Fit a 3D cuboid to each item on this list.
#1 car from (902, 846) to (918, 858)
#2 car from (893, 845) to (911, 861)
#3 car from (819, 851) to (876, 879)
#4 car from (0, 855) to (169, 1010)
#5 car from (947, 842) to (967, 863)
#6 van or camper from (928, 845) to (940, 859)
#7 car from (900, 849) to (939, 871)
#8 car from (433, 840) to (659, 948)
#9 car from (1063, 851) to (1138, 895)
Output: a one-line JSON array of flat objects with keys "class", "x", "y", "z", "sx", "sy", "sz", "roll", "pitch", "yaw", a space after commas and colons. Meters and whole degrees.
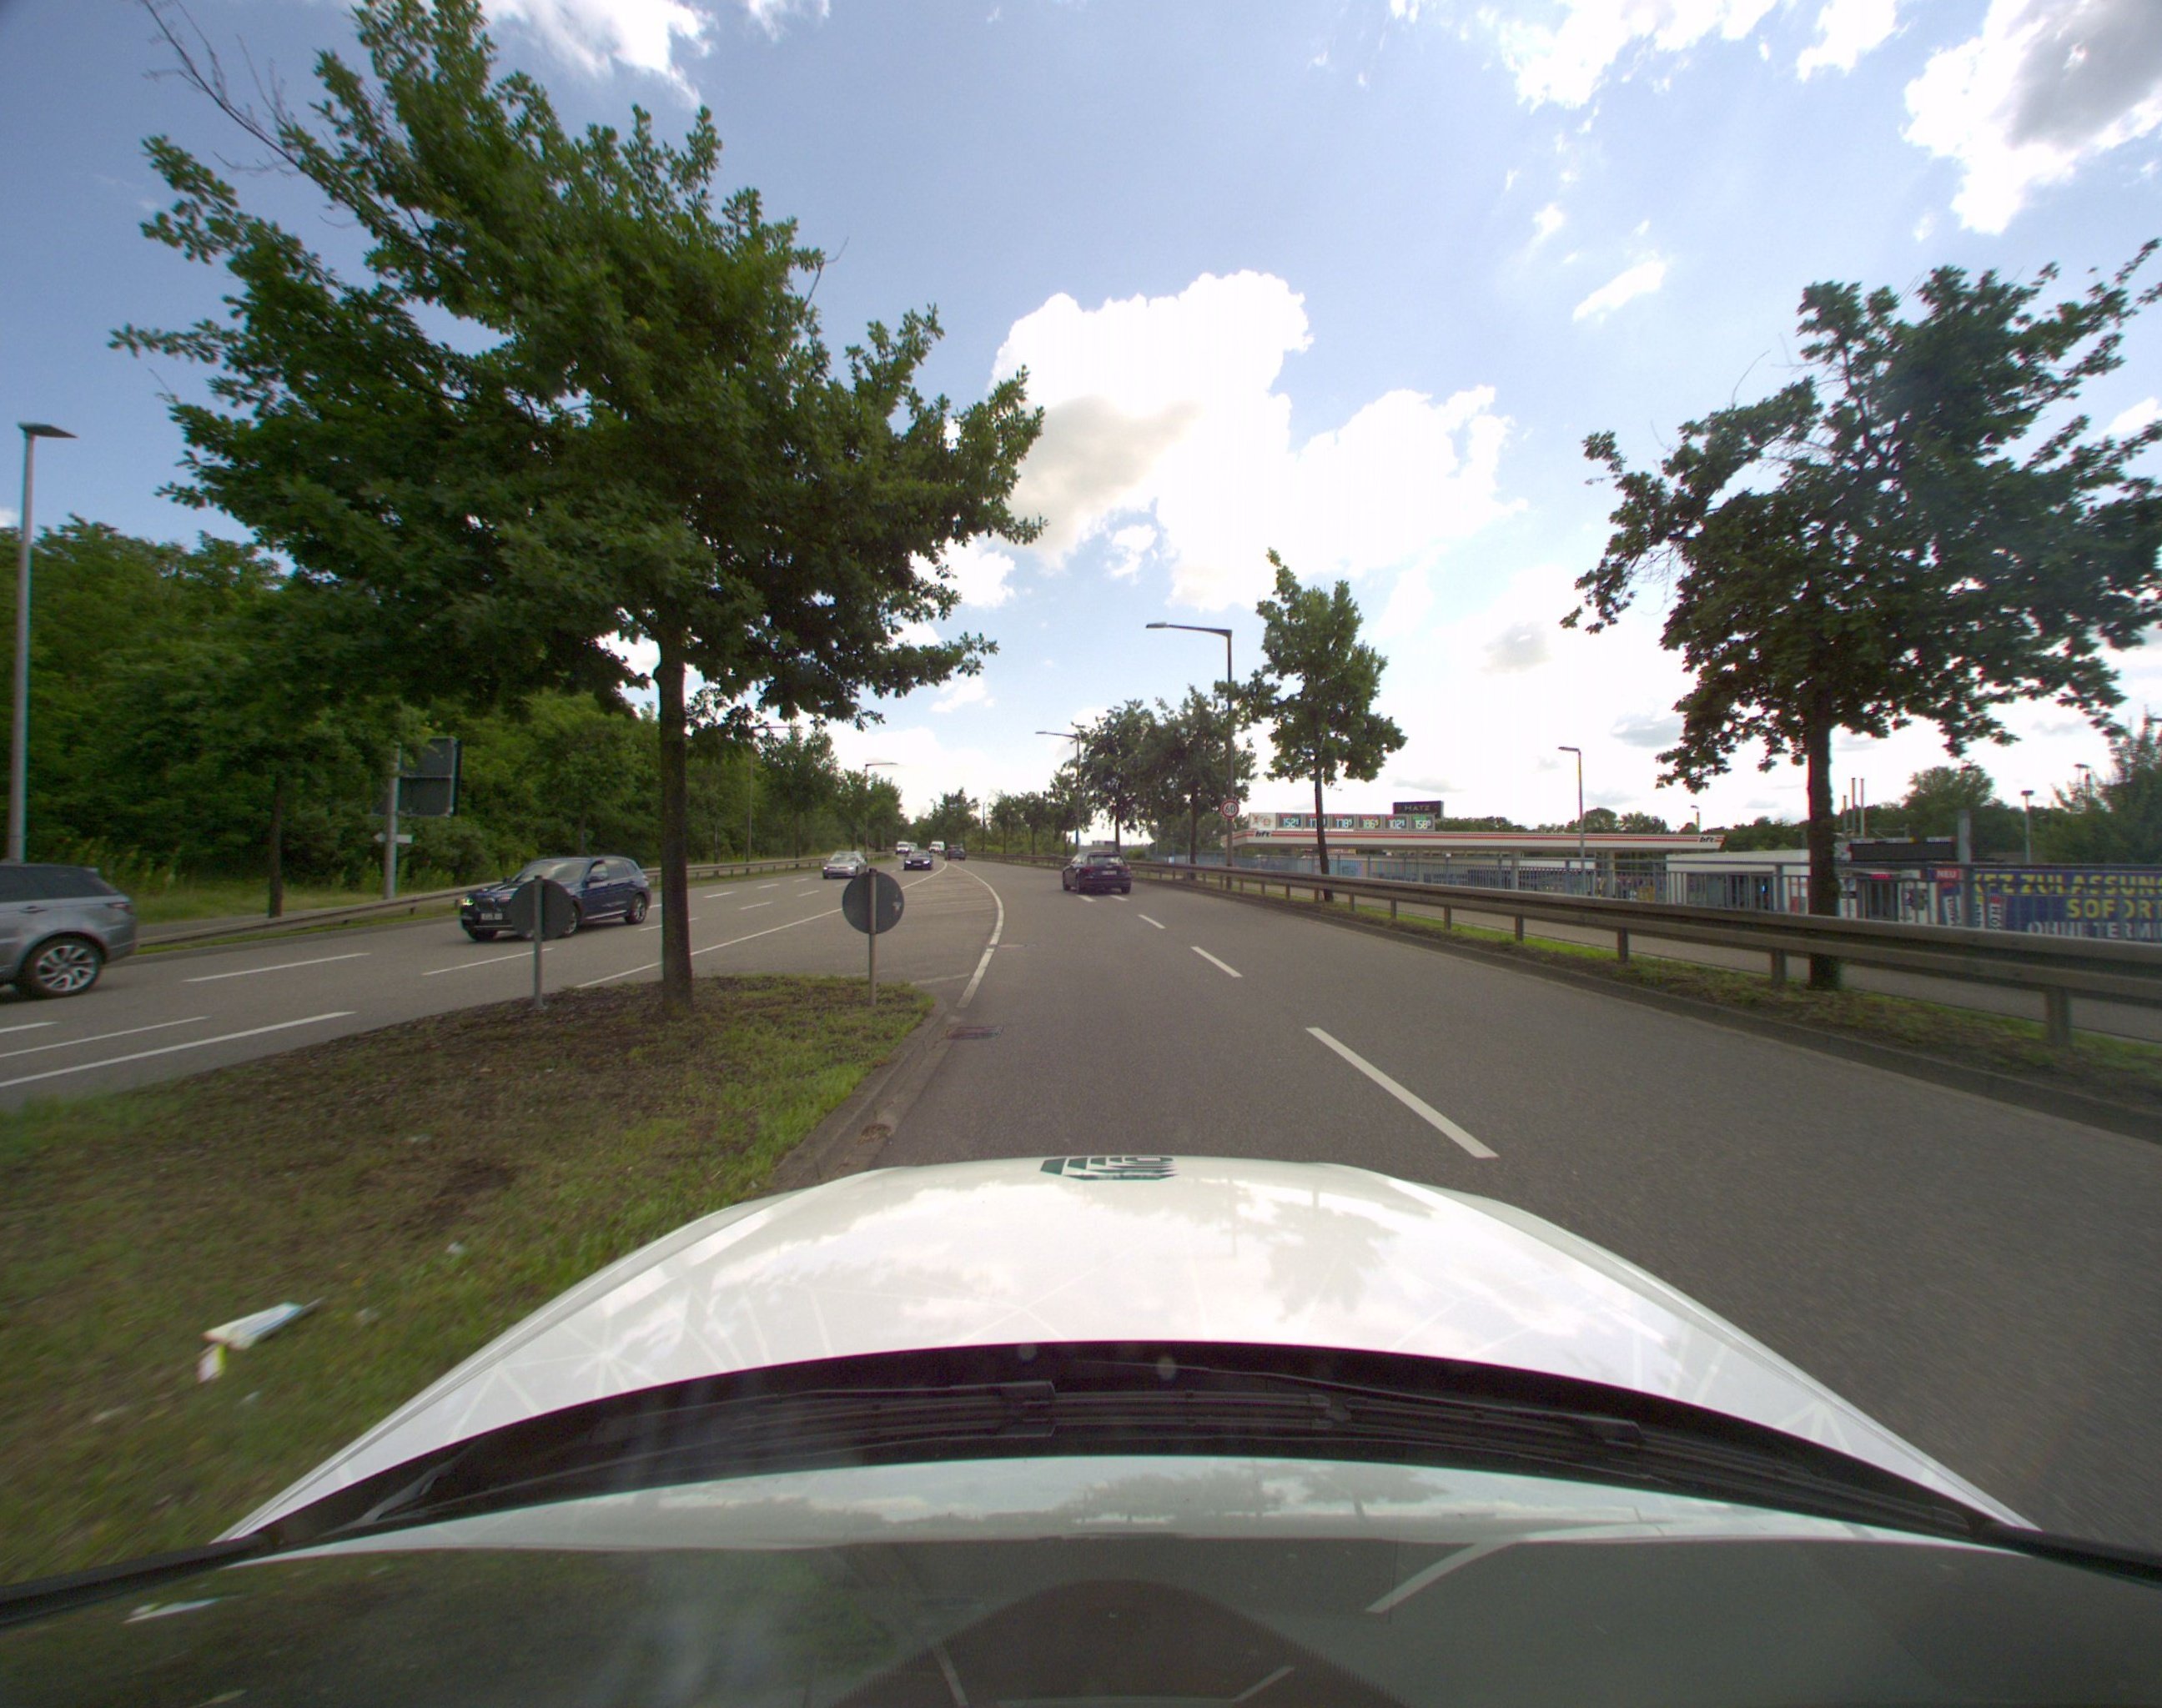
[{"class": "car", "x": -31.939, "y": -0.432, "z": 151.966, "sx": 2.001, "sy": 2.037, "sz": 4.678, "roll": 1, "pitch": -2, "yaw": -22}, {"class": "car", "x": -24.503, "y": -0.162, "z": 111.469, "sx": 1.992, "sy": 2.013, "sz": 4.547, "roll": 1, "pitch": 1, "yaw": -7}, {"class": "car", "x": -12.830, "y": 0.583, "z": 45.122, "sx": 1.989, "sy": 1.396, "sz": 4.695, "roll": -1, "pitch": 1, "yaw": -3}, {"class": "car", "x": -13.950, "y": 0.938, "z": 9.156, "sx": 1.986, "sy": 1.861, "sz": 4.716, "roll": 0, "pitch": -1, "yaw": 1}, {"class": "car", "x": -13.394, "y": -0.142, "z": 88.031, "sx": 1.992, "sy": 2.037, "sz": 4.699, "roll": 0, "pitch": -2, "yaw": -8}, {"class": "van or camper", "x": -31.472, "y": -0.452, "z": 174.132, "sx": 1.997, "sy": 2.750, "sz": 5.357, "roll": 2, "pitch": -1, "yaw": -15}, {"class": "car", "x": -11.269, "y": 0.403, "z": 57.037, "sx": 1.898, "sy": 1.363, "sz": 4.572, "roll": -2, "pitch": 0, "yaw": -2}, {"class": "car", "x": -11.480, "y": 0.720, "z": 18.000, "sx": 1.989, "sy": 2.013, "sz": 4.812, "roll": 0, "pitch": 1, "yaw": -3}, {"class": "car", "x": 0.593, "y": 0.622, "z": 28.550, "sx": 1.991, "sy": 1.390, "sz": 4.565, "roll": 1, "pitch": 0, "yaw": -7}]
